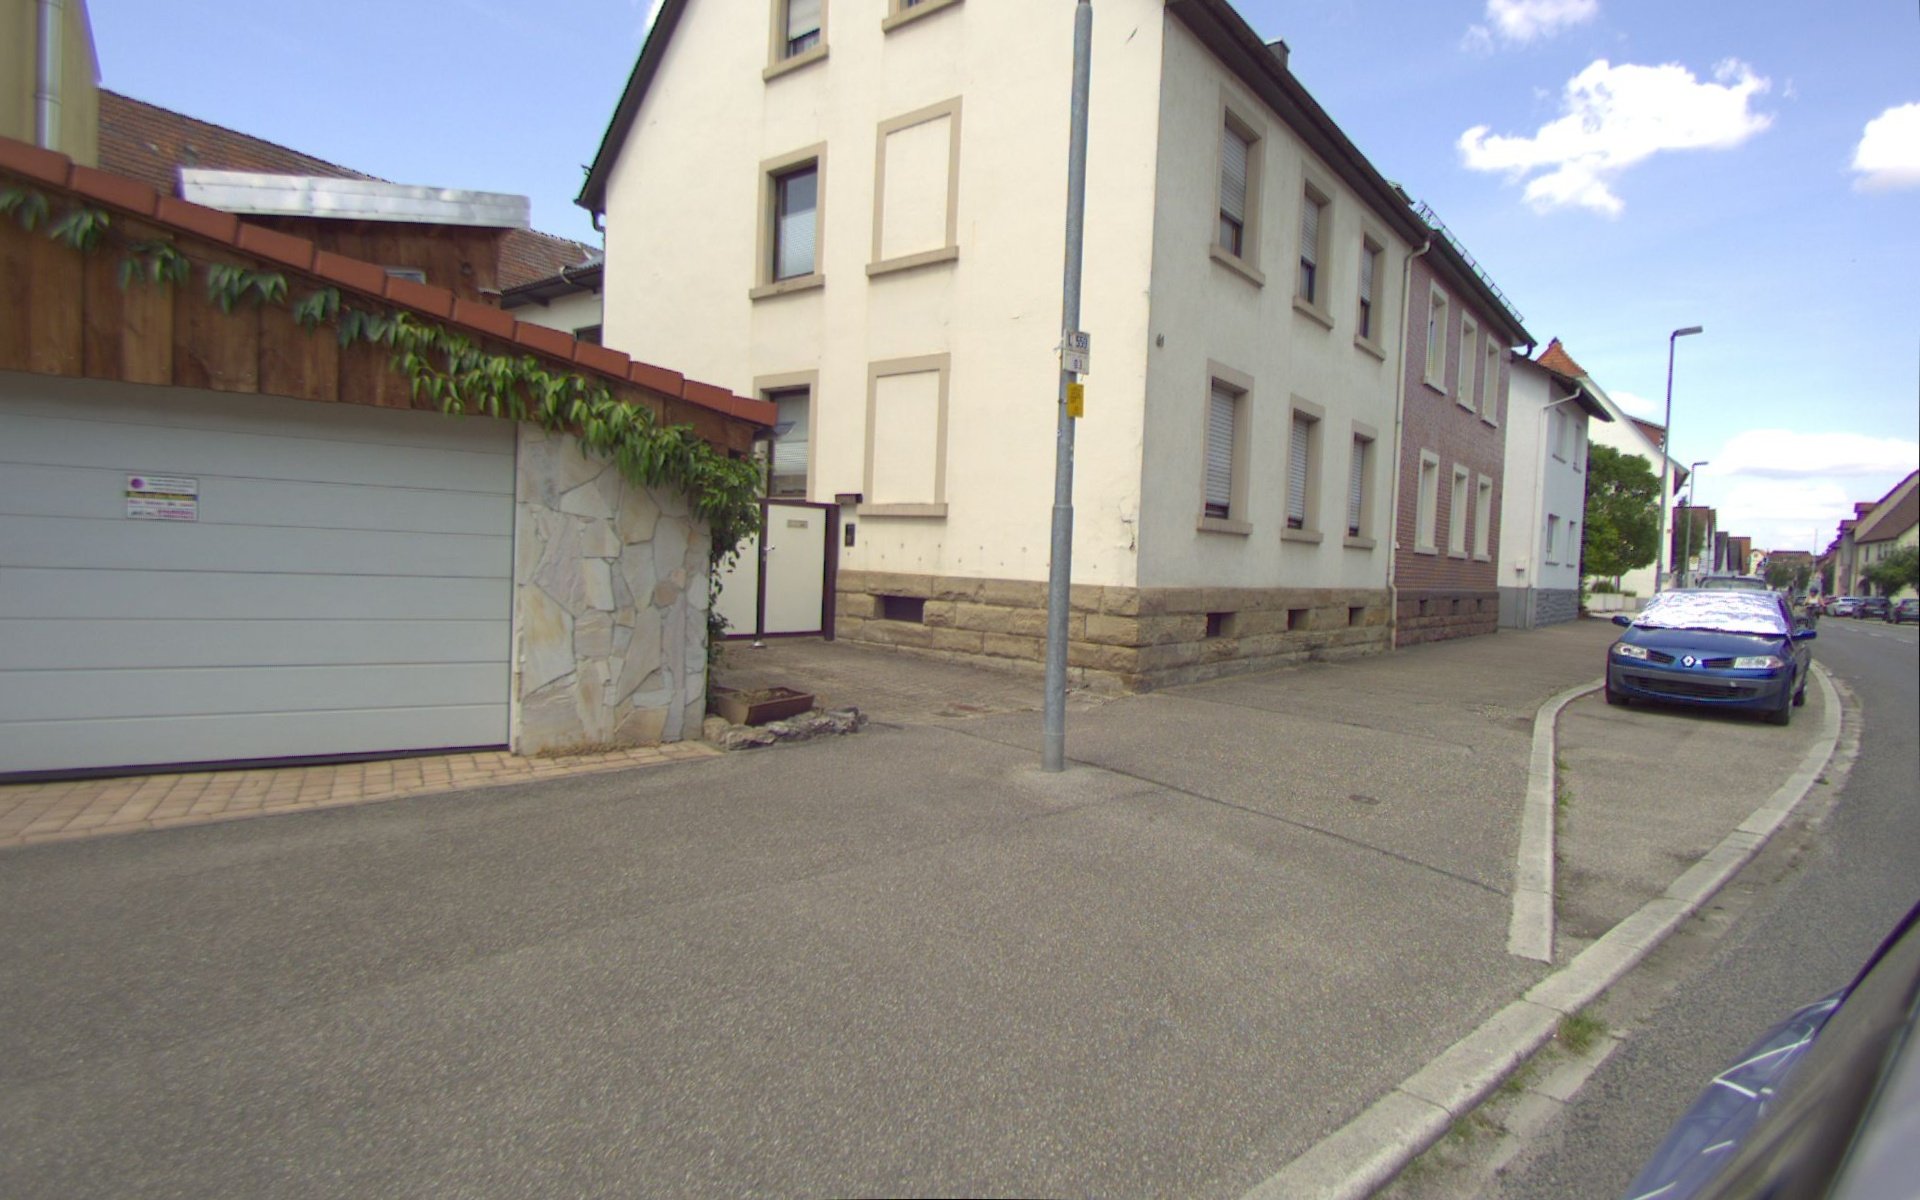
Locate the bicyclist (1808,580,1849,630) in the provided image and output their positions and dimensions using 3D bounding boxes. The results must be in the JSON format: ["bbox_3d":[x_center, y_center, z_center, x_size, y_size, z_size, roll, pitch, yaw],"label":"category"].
[{"bbox_3d":[30.991,0.167,36.135,0.746,1.709,0.910,-1,2,-33],"label":"bicyclist"}]

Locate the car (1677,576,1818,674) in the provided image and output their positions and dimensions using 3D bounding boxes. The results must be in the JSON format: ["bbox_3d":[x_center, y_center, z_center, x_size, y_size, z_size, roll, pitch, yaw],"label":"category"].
[{"bbox_3d":[14.548,0.449,18.619,1.767,1.549,3.939,4,1,41],"label":"car"}]

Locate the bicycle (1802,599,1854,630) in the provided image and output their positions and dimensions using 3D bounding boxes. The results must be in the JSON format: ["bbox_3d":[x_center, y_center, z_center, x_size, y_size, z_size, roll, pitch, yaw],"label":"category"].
[{"bbox_3d":[31.050,0.513,36.187,1.887,1.024,0.935,2,1,-35],"label":"bicycle"}]

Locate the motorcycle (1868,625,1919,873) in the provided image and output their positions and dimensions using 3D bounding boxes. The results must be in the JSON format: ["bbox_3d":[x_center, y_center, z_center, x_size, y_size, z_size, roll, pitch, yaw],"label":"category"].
[{"bbox_3d":[5.960,0.783,5.302,2.059,1.256,0.987,1,0,-23],"label":"motorcycle"}]

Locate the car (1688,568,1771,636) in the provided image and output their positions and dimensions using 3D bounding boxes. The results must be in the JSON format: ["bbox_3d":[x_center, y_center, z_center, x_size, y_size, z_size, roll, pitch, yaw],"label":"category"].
[{"bbox_3d":[24.269,-0.020,31.880,1.922,1.939,5.174,2,3,38],"label":"car"}]

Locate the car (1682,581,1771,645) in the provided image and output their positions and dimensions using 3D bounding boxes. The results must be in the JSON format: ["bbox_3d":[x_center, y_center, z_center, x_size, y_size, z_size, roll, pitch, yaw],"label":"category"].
[{"bbox_3d":[20.644,0.292,27.373,1.735,1.522,4.499,3,3,36],"label":"car"}]

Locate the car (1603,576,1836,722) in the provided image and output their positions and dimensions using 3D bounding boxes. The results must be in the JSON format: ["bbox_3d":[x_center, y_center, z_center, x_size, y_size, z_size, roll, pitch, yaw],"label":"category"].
[{"bbox_3d":[9.427,0.457,12.443,1.724,1.402,3.936,5,5,44],"label":"car"}]

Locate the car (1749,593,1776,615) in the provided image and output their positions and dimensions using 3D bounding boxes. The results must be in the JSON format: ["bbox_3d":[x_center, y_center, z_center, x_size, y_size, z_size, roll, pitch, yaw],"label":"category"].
[{"bbox_3d":[82.428,0.377,103.926,1.991,2.038,3.943,2,3,40],"label":"car"}]
